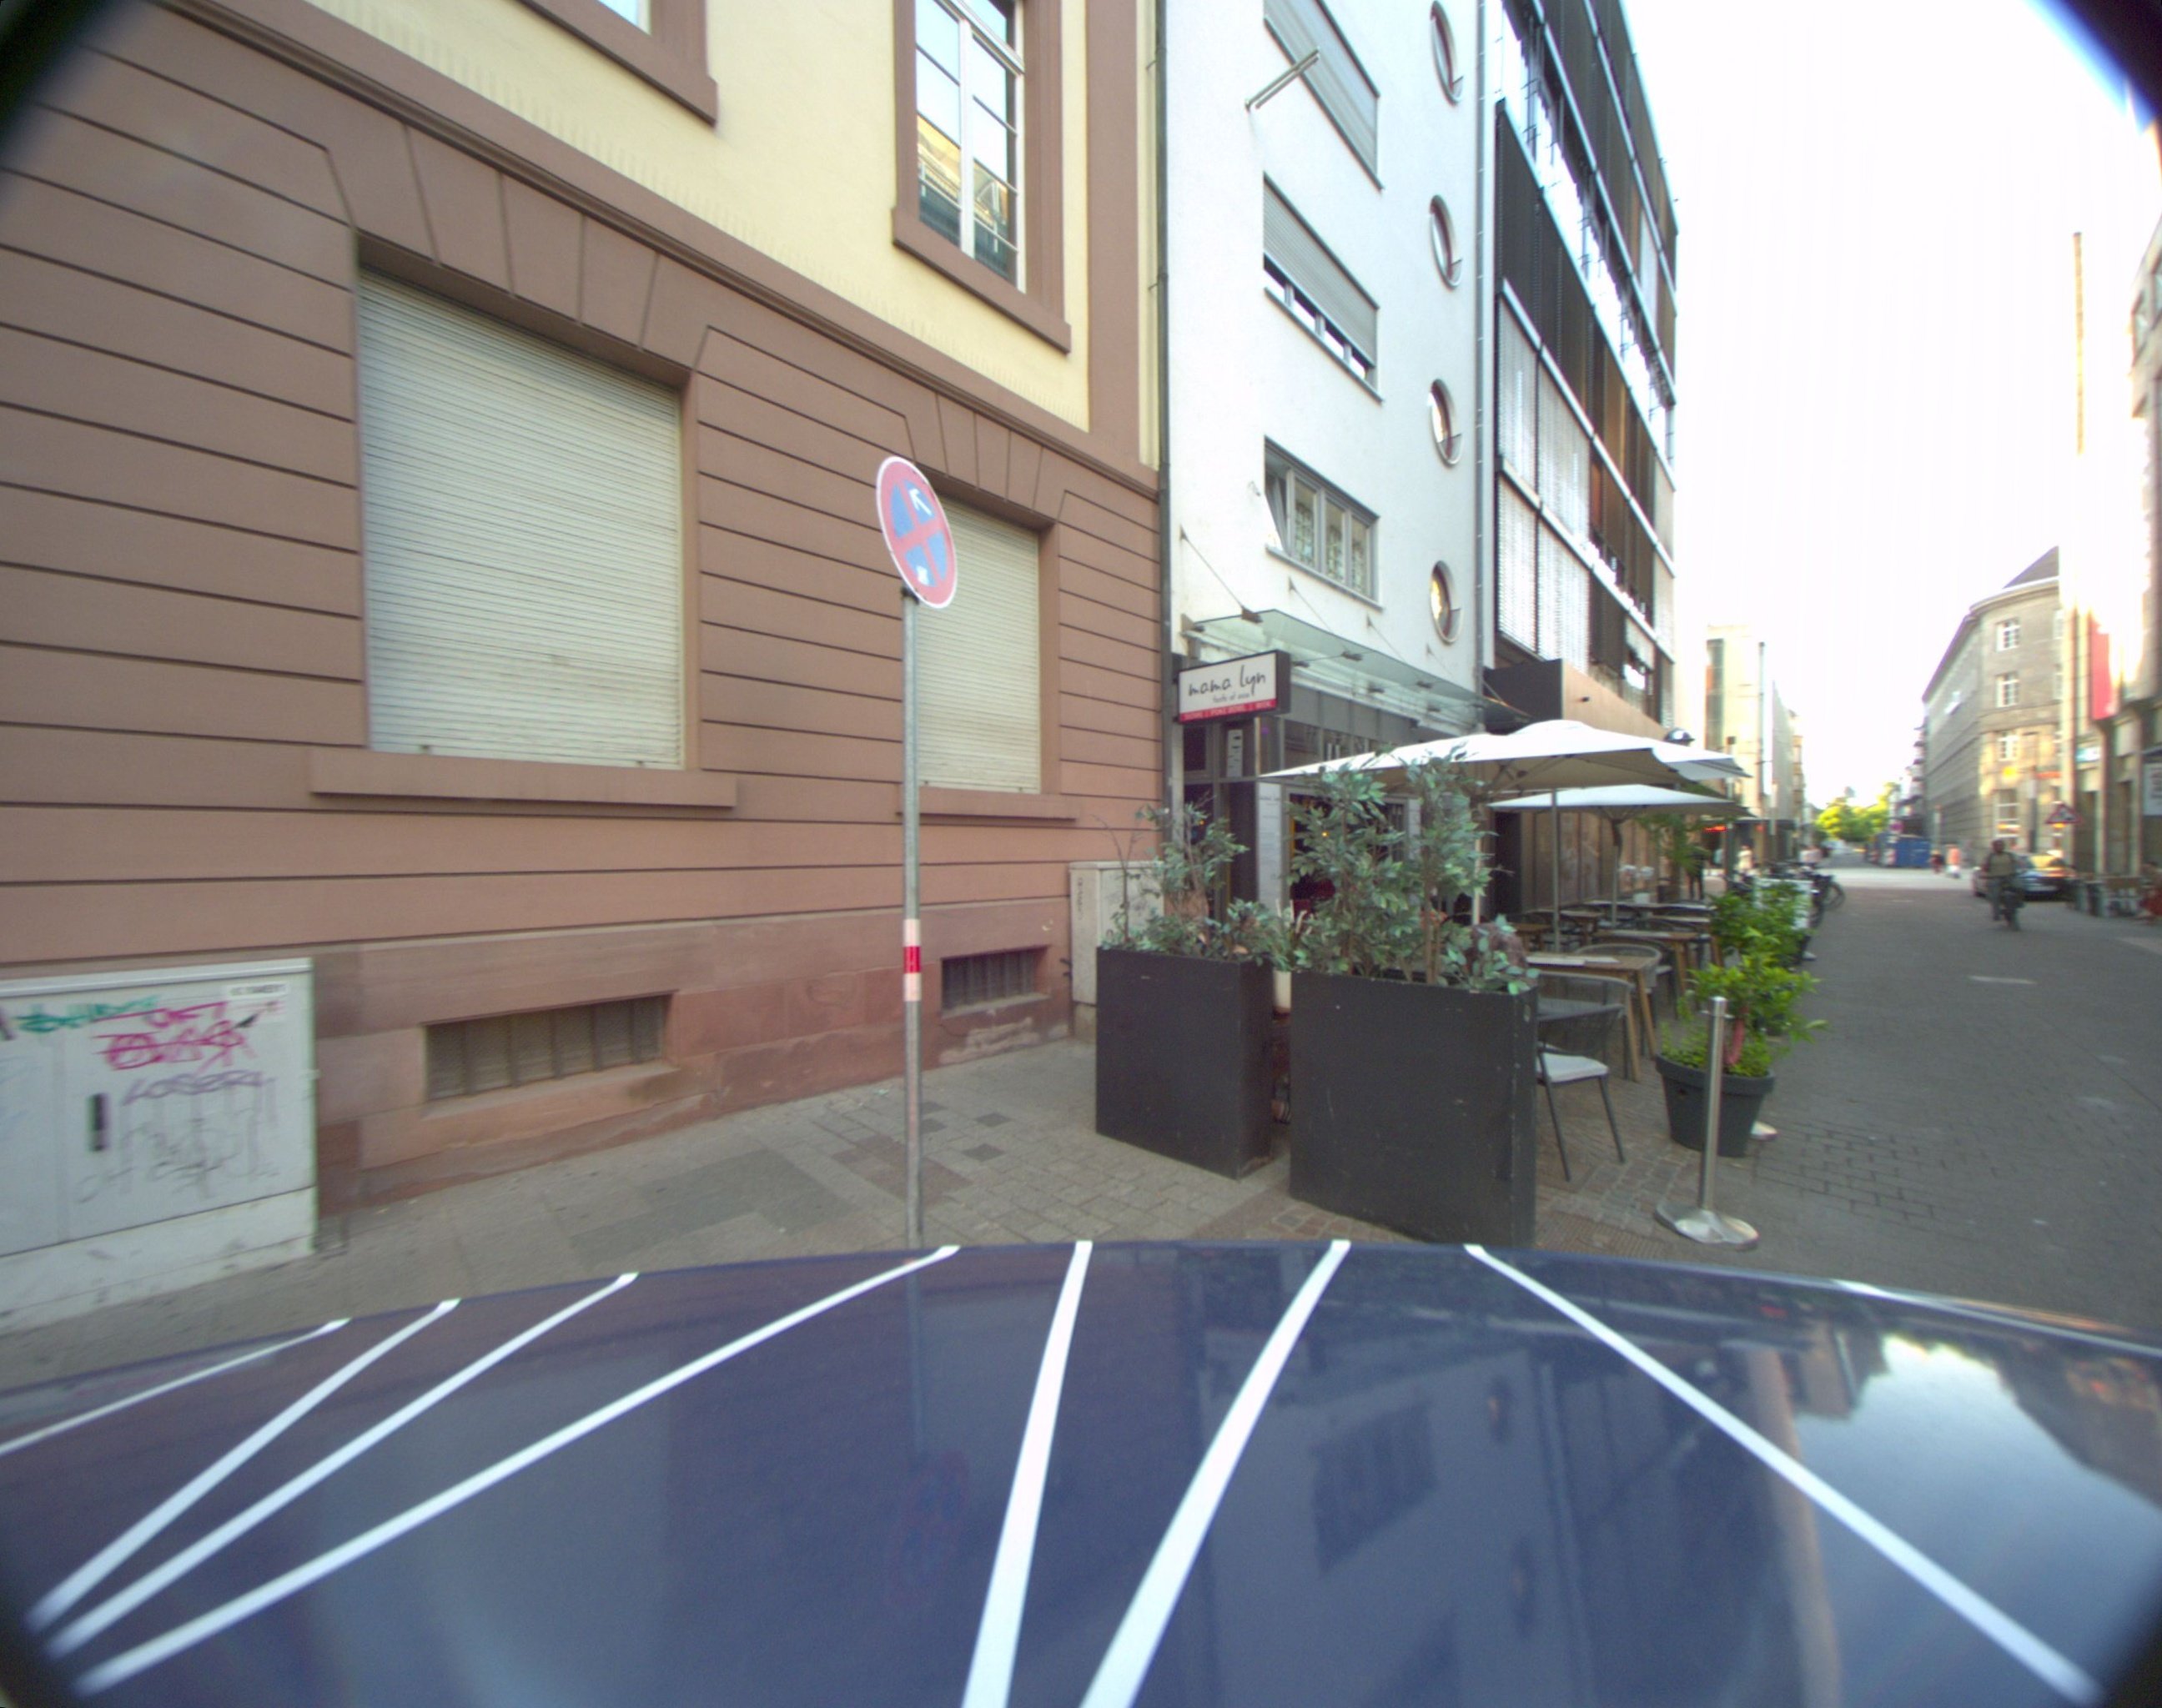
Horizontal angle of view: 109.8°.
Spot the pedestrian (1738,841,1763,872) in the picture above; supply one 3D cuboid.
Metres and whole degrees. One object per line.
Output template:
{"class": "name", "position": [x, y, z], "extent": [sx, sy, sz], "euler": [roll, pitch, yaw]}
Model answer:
{"class": "pedestrian", "position": [35.775, 0.120, 40.622], "extent": [0.635, 1.612, 0.782], "euler": [-1, 2, -4]}

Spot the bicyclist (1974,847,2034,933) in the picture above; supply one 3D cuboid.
{"class": "bicyclist", "position": [18.527, 0.697, 15.265], "extent": [0.674, 1.660, 0.871], "euler": [0, 1, 44]}

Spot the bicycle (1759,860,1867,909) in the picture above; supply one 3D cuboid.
{"class": "bicycle", "position": [19.889, 0.790, 20.684], "extent": [2.033, 1.161, 0.667], "euler": [4, 4, 44]}

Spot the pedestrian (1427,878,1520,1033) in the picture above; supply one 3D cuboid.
{"class": "pedestrian", "position": [3.939, 0.968, 7.610], "extent": [0.870, 1.412, 0.574], "euler": [-1, 1, -44]}

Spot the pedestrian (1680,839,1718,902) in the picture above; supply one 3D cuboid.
{"class": "pedestrian", "position": [18.332, 0.485, 22.539], "extent": [0.676, 1.825, 0.802], "euler": [-1, 1, -43]}

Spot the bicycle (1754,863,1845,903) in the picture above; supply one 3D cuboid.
{"class": "bicycle", "position": [22.343, 0.879, 23.663], "extent": [2.034, 1.161, 0.620], "euler": [0, 1, 44]}

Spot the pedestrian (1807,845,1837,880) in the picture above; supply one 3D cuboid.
{"class": "pedestrian", "position": [34.913, 0.394, 35.806], "extent": [0.782, 1.612, 0.636], "euler": [-1, 2, 6]}

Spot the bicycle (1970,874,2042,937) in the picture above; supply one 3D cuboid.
{"class": "bicycle", "position": [18.536, 0.996, 15.263], "extent": [0.698, 1.121, 2.009], "euler": [0, 0, 44]}

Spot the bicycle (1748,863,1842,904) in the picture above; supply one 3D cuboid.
{"class": "bicycle", "position": [21.511, 0.869, 22.933], "extent": [2.034, 1.161, 0.620], "euler": [0, 1, 44]}

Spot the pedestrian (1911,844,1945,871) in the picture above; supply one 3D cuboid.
{"class": "pedestrian", "position": [49.840, 0.215, 44.703], "extent": [0.992, 1.563, 0.920], "euler": [-1, 1, -1]}

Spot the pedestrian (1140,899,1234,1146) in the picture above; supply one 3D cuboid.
{"class": "pedestrian", "position": [0.624, 0.932, 4.411], "extent": [0.361, 1.298, 0.496], "euler": [0, 1, 31]}

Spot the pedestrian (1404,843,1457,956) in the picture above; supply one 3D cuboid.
{"class": "pedestrian", "position": [5.645, 0.710, 12.270], "extent": [0.638, 1.762, 0.603], "euler": [0, 1, 40]}

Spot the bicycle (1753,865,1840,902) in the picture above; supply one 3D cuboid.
{"class": "bicycle", "position": [23.282, 0.936, 24.751], "extent": [2.034, 1.161, 0.620], "euler": [0, 1, 44]}

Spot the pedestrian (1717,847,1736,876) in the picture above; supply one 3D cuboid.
{"class": "pedestrian", "position": [34.730, 0.386, 40.888], "extent": [0.634, 1.516, 0.784], "euler": [0, 2, 30]}

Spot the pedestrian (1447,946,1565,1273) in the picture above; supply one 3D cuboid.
{"class": "pedestrian", "position": [1.807, 1.028, 3.224], "extent": [0.399, 1.206, 0.384], "euler": [0, 1, 36]}

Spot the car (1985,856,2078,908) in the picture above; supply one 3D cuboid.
{"class": "car", "position": [28.572, 0.783, 22.919], "extent": [3.611, 1.414, 1.599], "euler": [-1, 1, -41]}

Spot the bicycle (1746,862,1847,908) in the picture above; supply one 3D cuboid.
{"class": "bicycle", "position": [20.656, 0.873, 21.972], "extent": [2.033, 1.161, 0.620], "euler": [4, 4, 44]}

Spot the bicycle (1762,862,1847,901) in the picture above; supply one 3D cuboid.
{"class": "bicycle", "position": [24.060, 0.895, 25.297], "extent": [2.034, 1.209, 0.620], "euler": [0, 1, 44]}

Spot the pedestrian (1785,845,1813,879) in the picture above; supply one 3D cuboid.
{"class": "pedestrian", "position": [34.656, 0.366, 36.666], "extent": [0.781, 1.612, 0.637], "euler": [0, 2, 22]}

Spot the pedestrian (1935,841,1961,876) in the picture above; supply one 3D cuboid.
{"class": "pedestrian", "position": [41.626, 0.204, 36.476], "extent": [0.670, 1.628, 0.763], "euler": [-2, 2, -36]}
